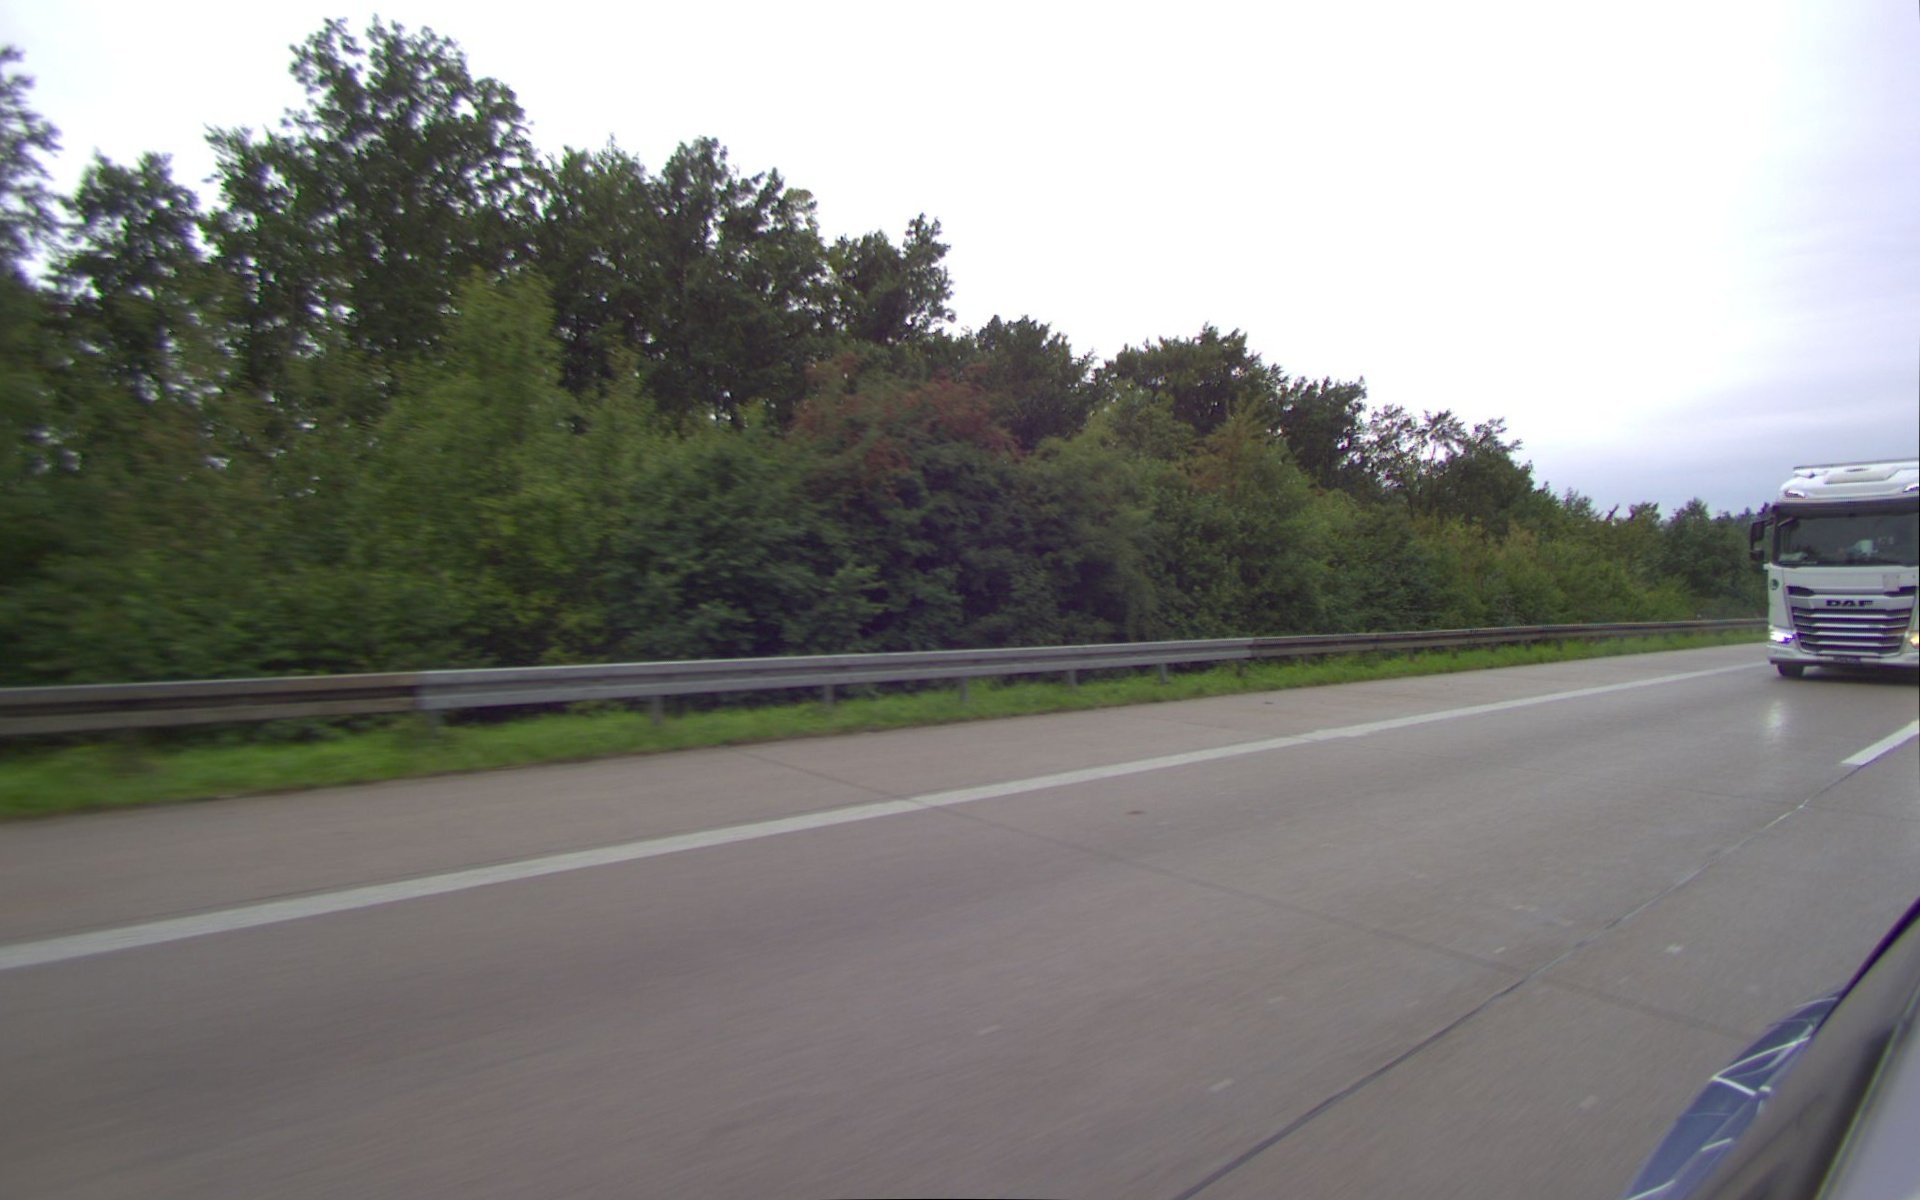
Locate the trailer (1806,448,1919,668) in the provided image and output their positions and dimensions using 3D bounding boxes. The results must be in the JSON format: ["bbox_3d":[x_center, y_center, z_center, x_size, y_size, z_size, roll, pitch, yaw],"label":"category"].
[{"bbox_3d":[22.879,-0.818,23.460,13.461,4.092,2.685,0,1,-40],"label":"trailer"}]

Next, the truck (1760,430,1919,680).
[{"bbox_3d":[17.423,-0.756,18.961,5.650,4.092,2.727,0,0,-40],"label":"truck"}]
